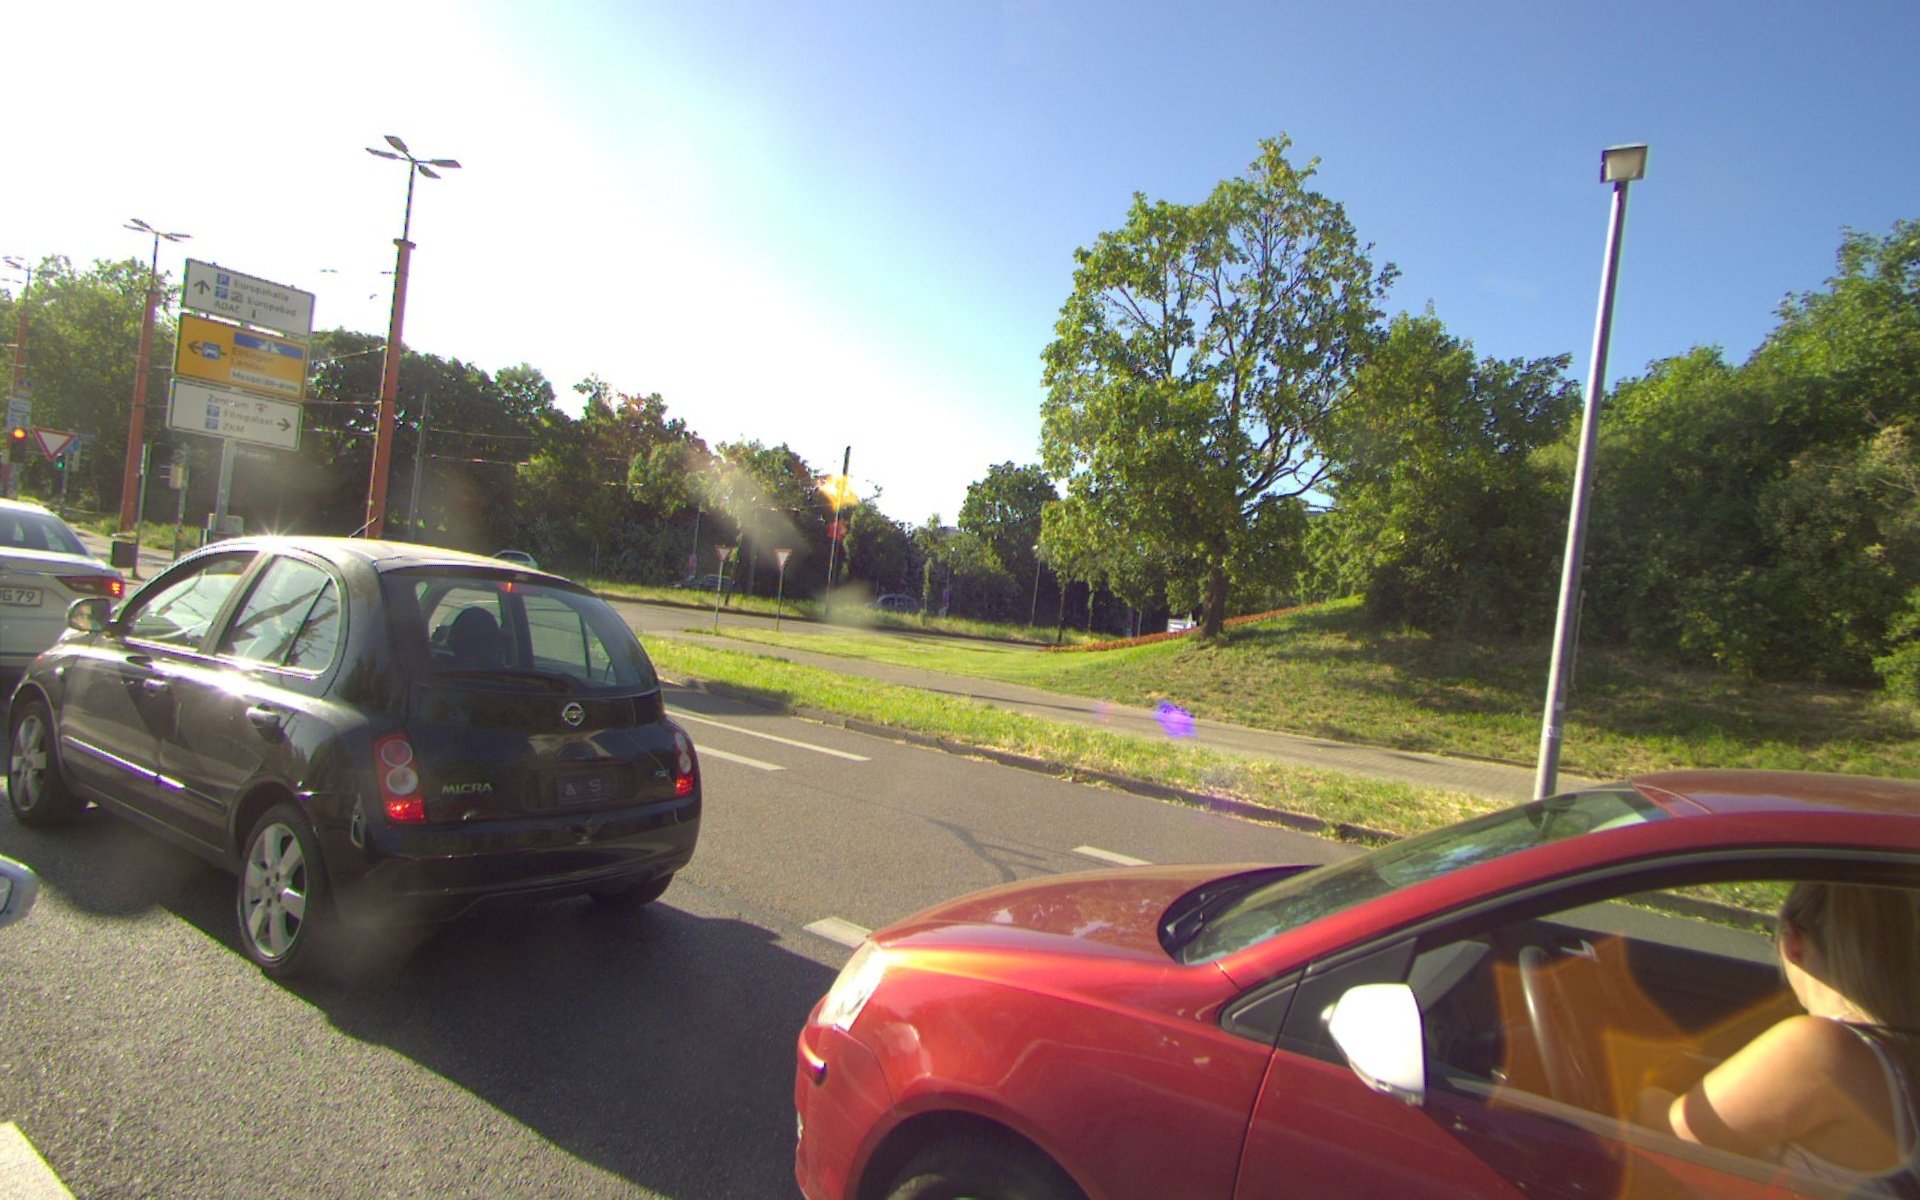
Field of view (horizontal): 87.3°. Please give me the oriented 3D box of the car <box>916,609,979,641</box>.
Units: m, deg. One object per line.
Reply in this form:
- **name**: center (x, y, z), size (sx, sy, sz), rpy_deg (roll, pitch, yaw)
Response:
- **car**: center (-0.948, 1.895, 77.297), size (4.217, 1.873, 1.984), rpy_deg (8, -1, -30)

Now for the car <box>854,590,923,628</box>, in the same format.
- **car**: center (-5.019, 0.632, 70.591), size (4.217, 2.038, 1.984), rpy_deg (8, -1, -30)

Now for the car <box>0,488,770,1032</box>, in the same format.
- **car**: center (-2.856, 0.459, 4.701), size (3.555, 1.518, 1.657), rpy_deg (7, -2, 32)

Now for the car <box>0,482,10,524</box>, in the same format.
- **car**: center (-46.354, -4.759, 45.787), size (4.169, 1.906, 1.750), rpy_deg (8, -1, -35)

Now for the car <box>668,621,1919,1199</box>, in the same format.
- **car**: center (1.404, 1.014, 1.871), size (3.700, 1.455, 1.644), rpy_deg (6, -2, 33)

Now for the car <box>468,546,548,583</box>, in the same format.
- **car**: center (-26.068, -2.057, 58.031), size (3.970, 1.546, 1.694), rpy_deg (8, -1, -30)

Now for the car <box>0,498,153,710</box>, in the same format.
- **car**: center (-8.370, -0.175, 8.028), size (4.130, 1.454, 1.723), rpy_deg (7, -1, 33)

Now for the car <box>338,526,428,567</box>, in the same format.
- **car**: center (-32.928, -3.025, 57.558), size (4.257, 1.725, 1.833), rpy_deg (8, -1, -29)
